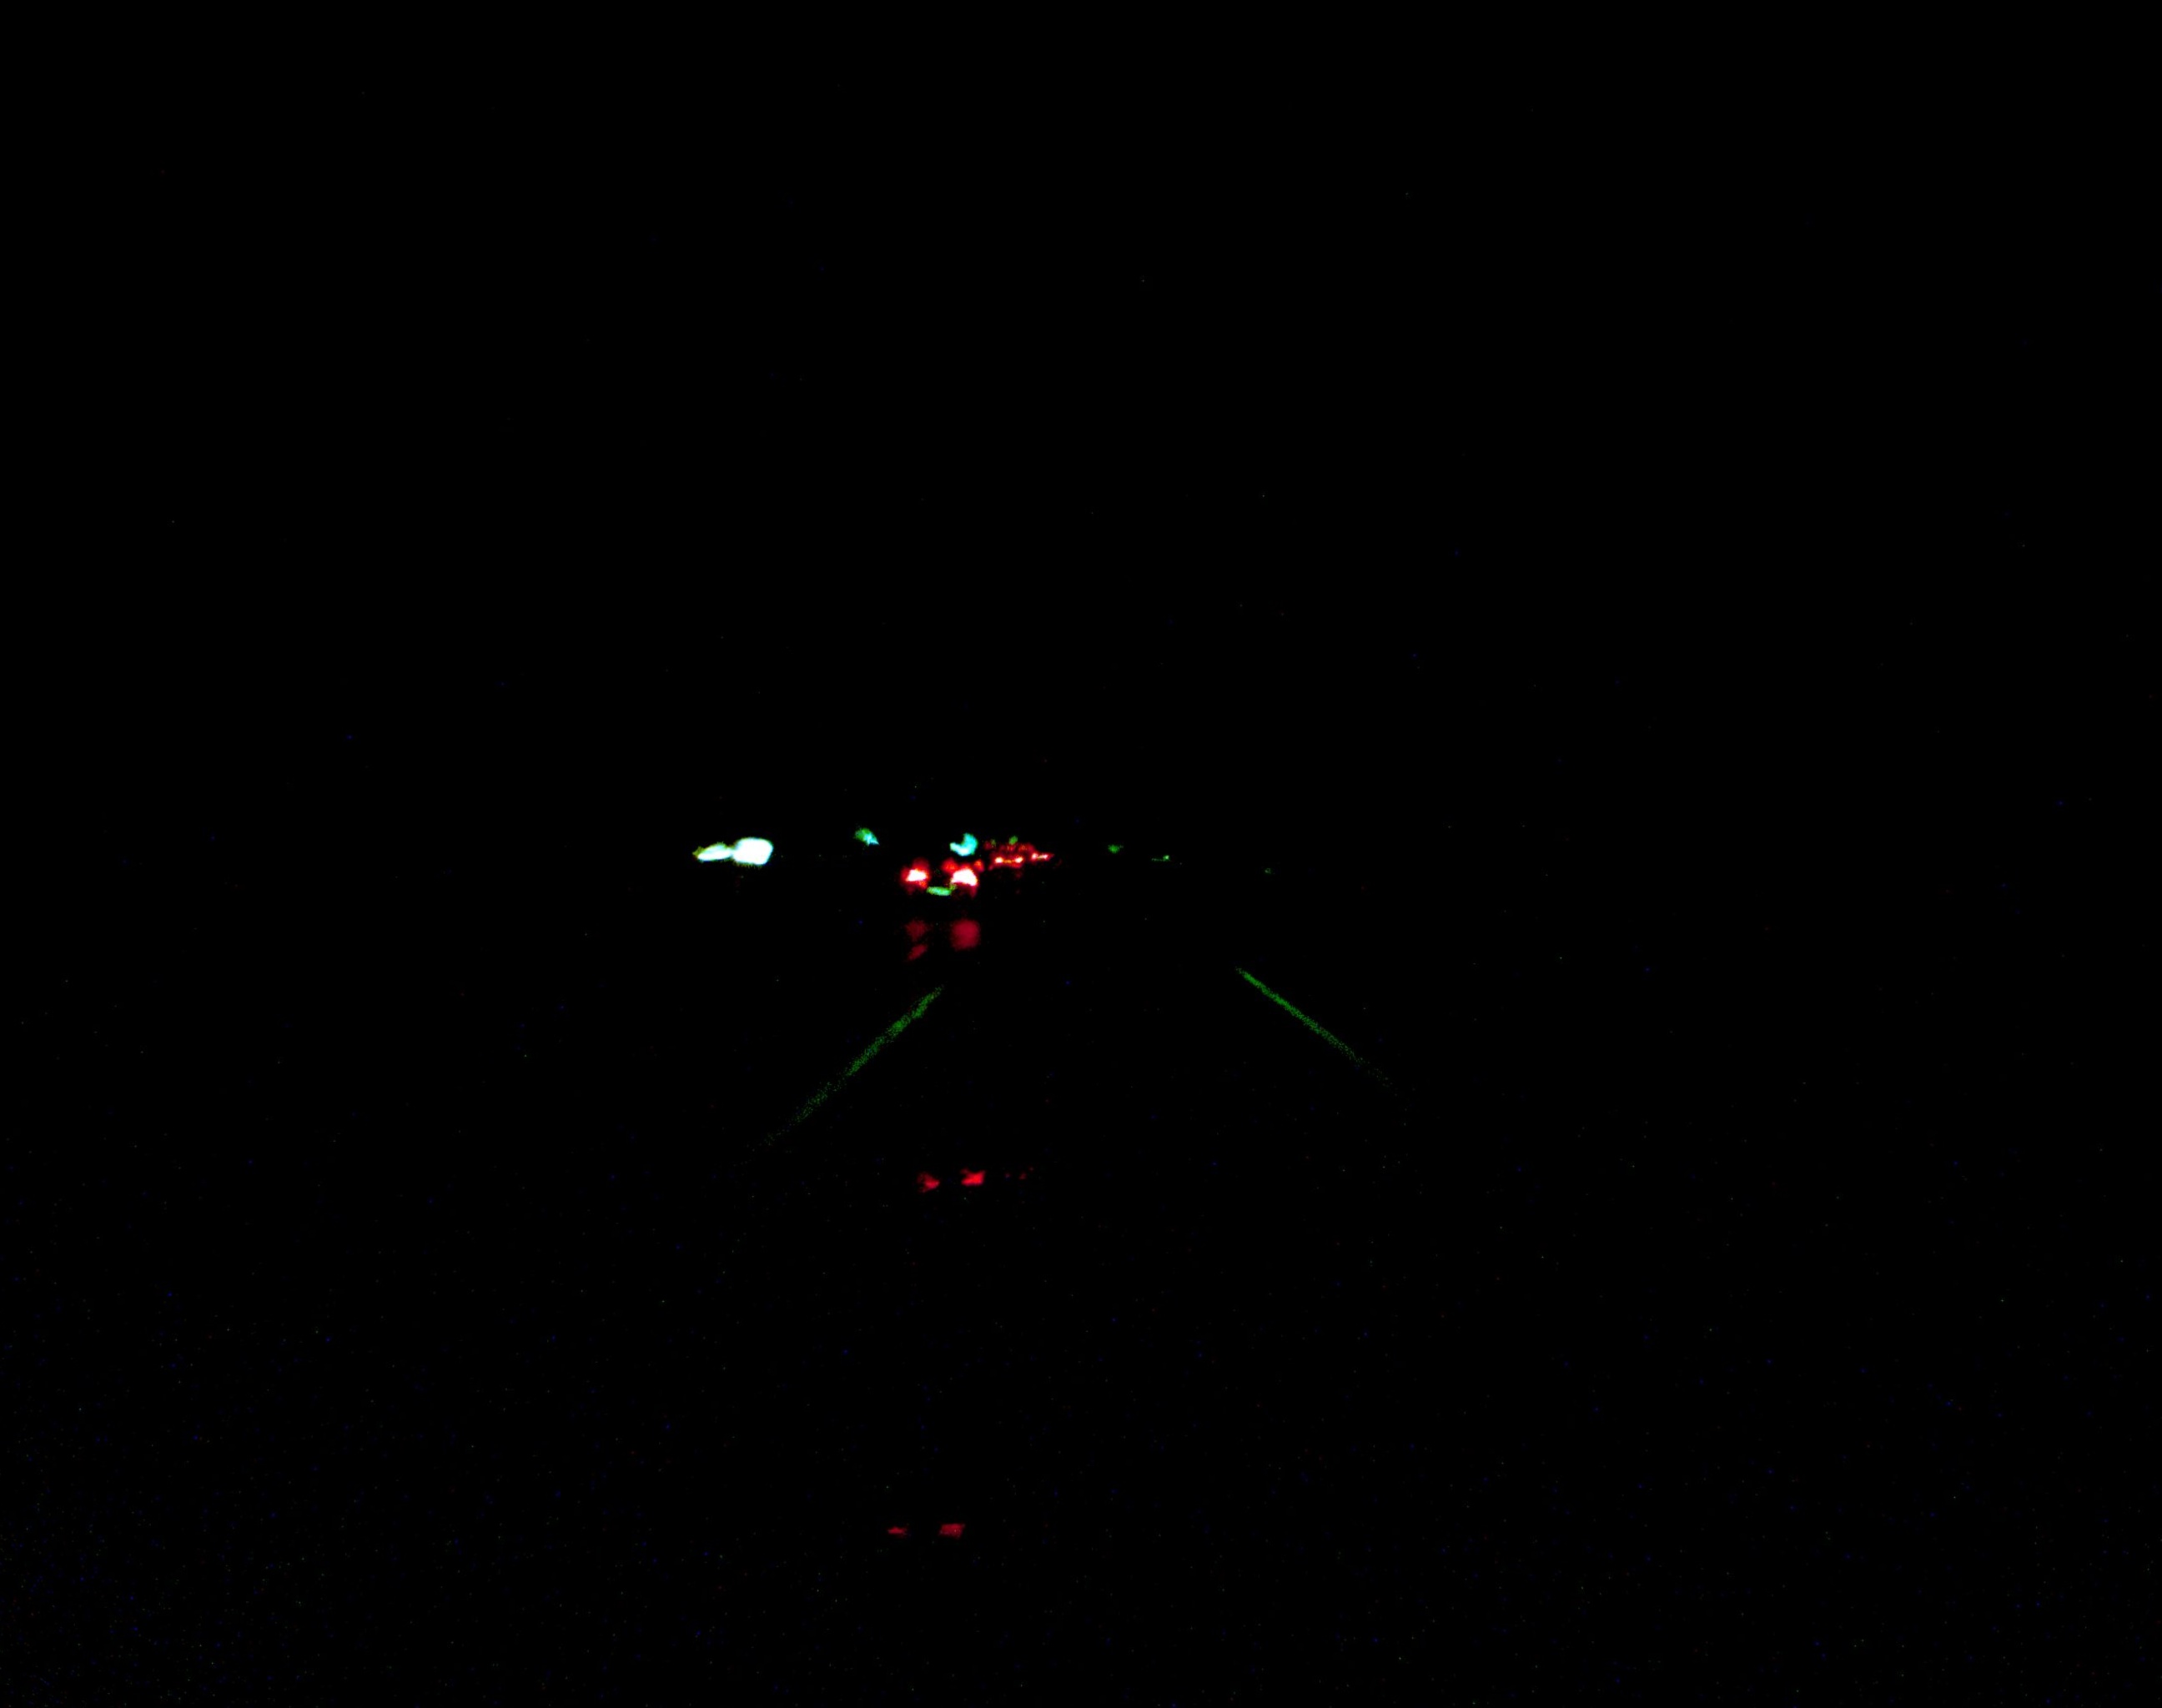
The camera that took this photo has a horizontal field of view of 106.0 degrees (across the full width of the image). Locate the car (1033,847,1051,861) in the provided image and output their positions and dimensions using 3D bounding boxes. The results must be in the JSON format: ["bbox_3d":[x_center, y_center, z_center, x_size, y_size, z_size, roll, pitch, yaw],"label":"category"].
[{"bbox_3d":[-4.428,-0.006,92.799,1.796,1.487,4.000,-1,0,1],"label":"car"}]

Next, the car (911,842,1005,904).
[{"bbox_3d":[-3.476,0.491,23.950,1.852,1.540,4.752,3,0,1],"label":"car"}]

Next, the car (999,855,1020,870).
[{"bbox_3d":[-5.802,0.681,66.603,1.659,1.236,3.755,0,0,-5],"label":"car"}]

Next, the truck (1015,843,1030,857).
[{"bbox_3d":[-12.953,-0.834,180.314,1.997,3.043,6.431,0,0,-15],"label":"truck"}]
